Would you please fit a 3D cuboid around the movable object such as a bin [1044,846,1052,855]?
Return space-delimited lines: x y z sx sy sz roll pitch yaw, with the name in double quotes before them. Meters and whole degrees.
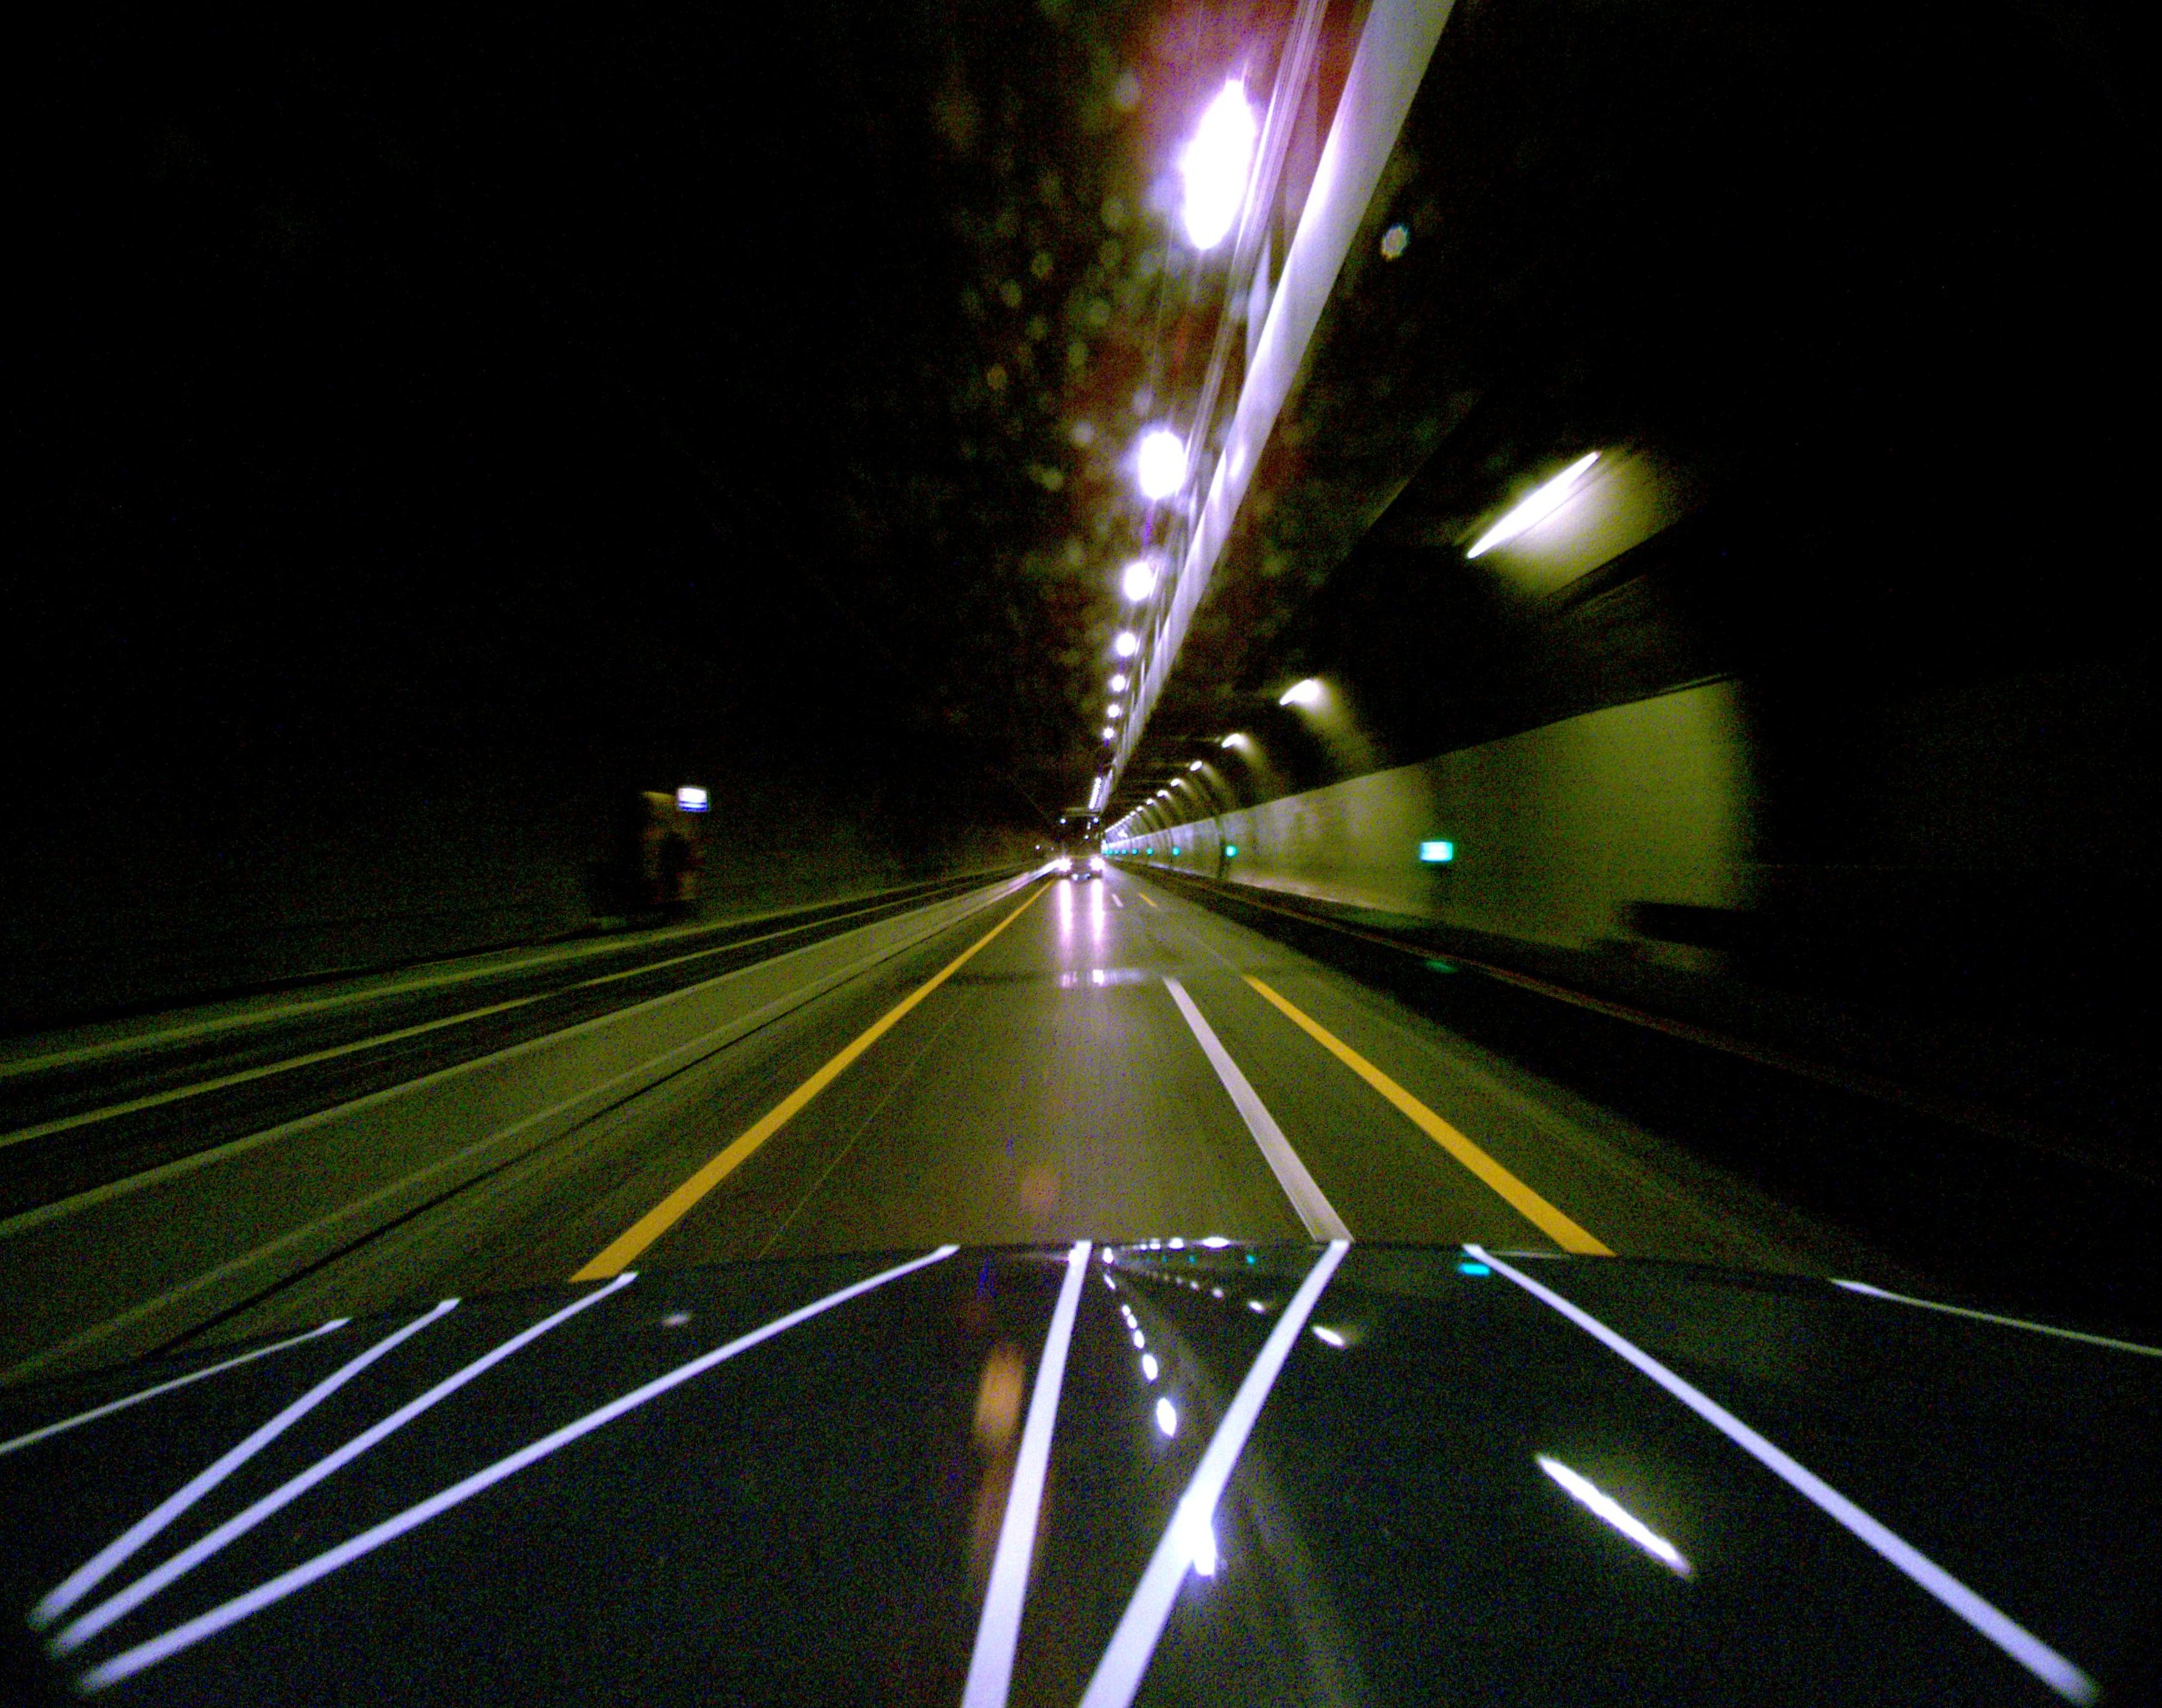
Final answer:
"movable object such as a bin" -7.885 -0.838 181.262 1.688 2.133 4.626 -3 1 -1

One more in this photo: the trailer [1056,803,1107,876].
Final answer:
"trailer" 0.022 -0.965 51.183 2.940 4.317 10.050 -3 1 0

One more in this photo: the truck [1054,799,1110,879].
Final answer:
"truck" 0.038 -0.885 46.001 2.951 4.338 6.674 -3 1 0

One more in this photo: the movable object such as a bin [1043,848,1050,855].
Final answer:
"movable object such as a bin" -8.391 -0.695 187.362 1.560 1.699 3.054 -3 1 -1
